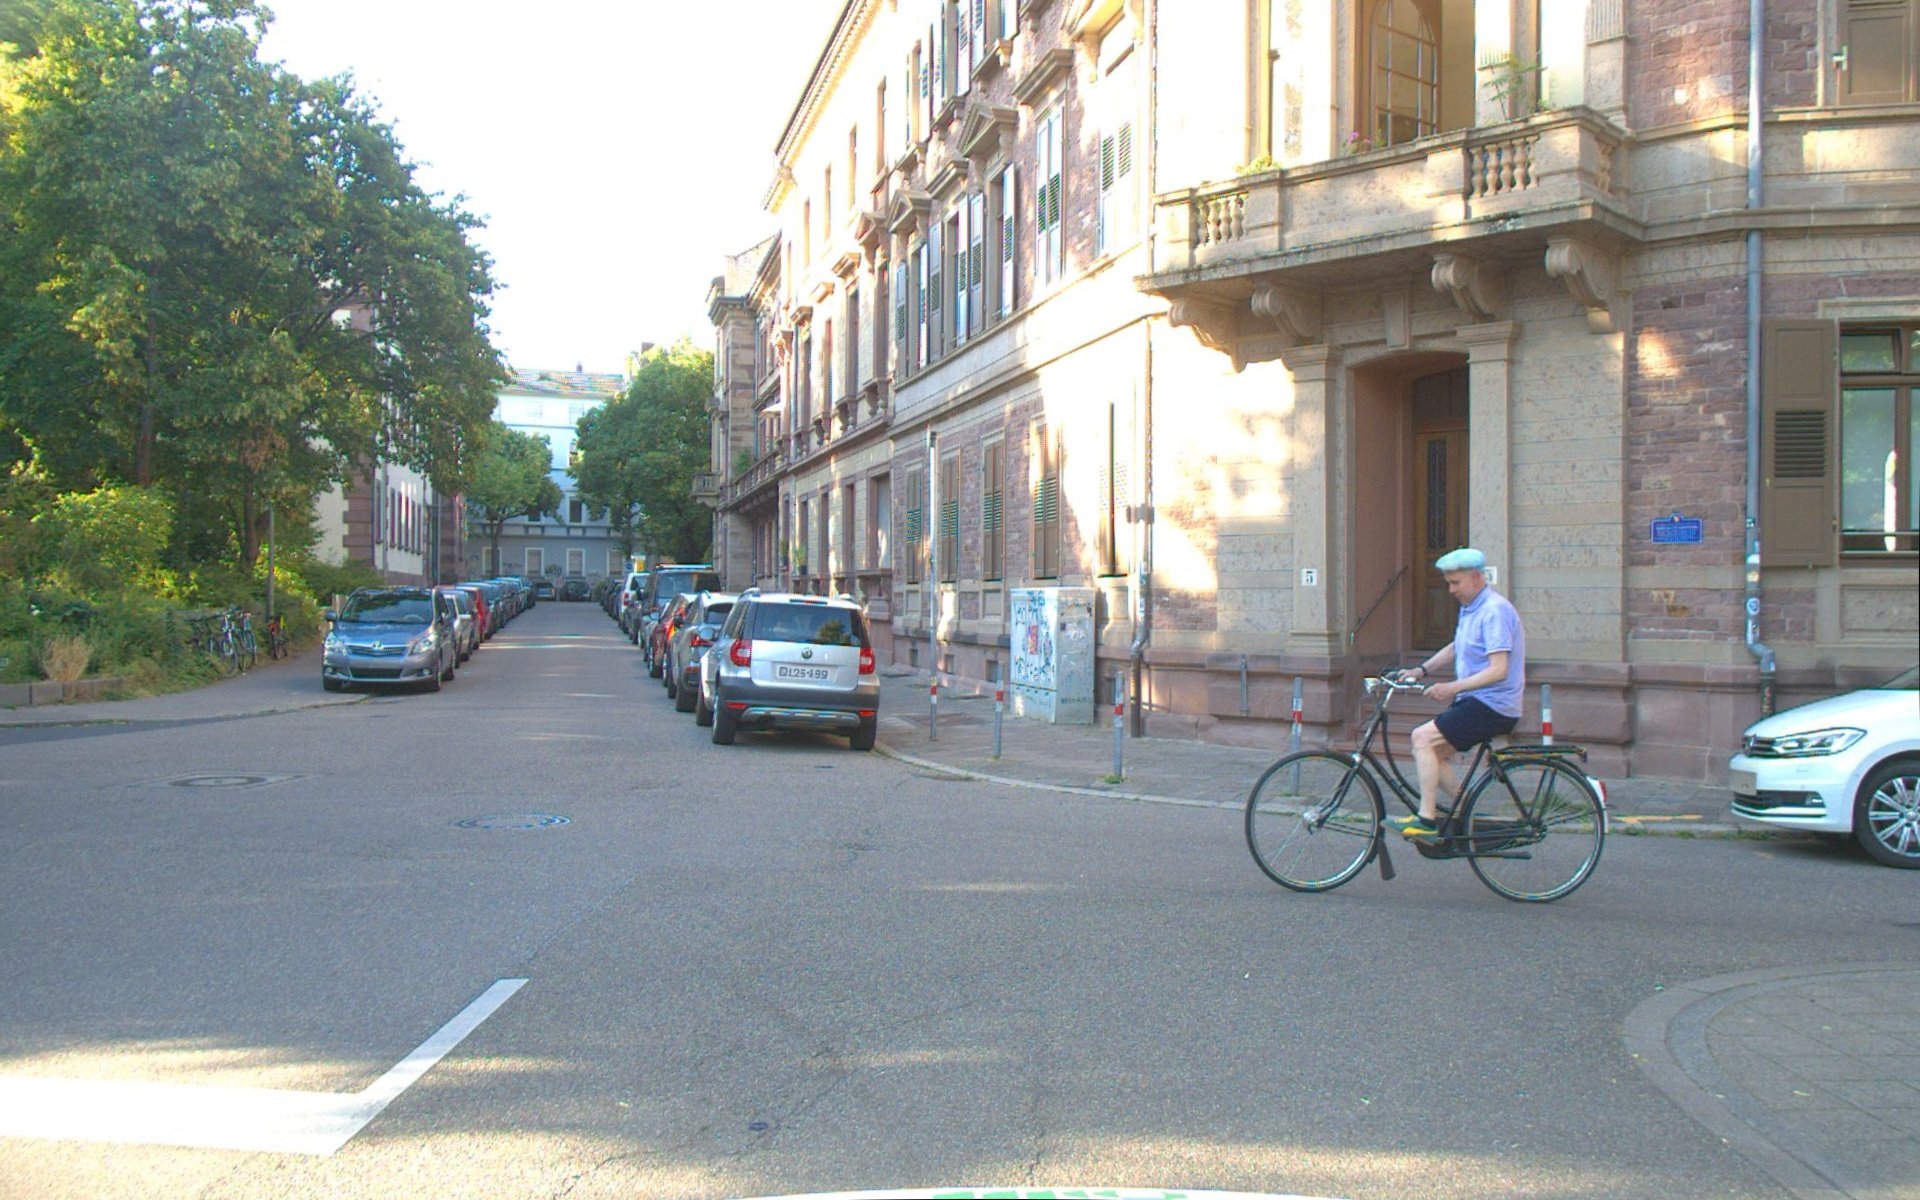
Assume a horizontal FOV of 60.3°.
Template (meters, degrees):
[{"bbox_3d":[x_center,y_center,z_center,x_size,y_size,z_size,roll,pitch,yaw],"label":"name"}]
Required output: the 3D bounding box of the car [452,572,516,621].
[{"bbox_3d":[-16.352,-0.146,56.949,1.794,1.526,3.919,3,0,-13],"label":"car"}]

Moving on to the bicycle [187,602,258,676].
[{"bbox_3d":[-12.201,0.621,27.429,0.586,1.120,2.619,0,1,-13],"label":"bicycle"}]

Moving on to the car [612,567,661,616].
[{"bbox_3d":[-13.208,-0.359,67.392,1.767,1.871,3.942,3,0,-13],"label":"car"}]

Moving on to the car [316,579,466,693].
[{"bbox_3d":[-9.364,0.535,27.543,1.794,1.643,4.278,3,0,-13],"label":"car"}]

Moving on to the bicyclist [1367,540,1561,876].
[{"bbox_3d":[2.528,0.515,8.378,0.853,1.616,0.701,0,0,10],"label":"bicyclist"}]

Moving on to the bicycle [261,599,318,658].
[{"bbox_3d":[-13.665,0.564,33.757,0.586,1.120,2.620,0,1,-11],"label":"bicycle"}]

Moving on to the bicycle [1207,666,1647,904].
[{"bbox_3d":[2.314,0.905,8.413,2.071,1.072,0.701,0,0,10],"label":"bicycle"}]

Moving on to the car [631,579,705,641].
[{"bbox_3d":[-8.109,0.235,45.721,1.767,1.550,3.942,3,0,-13],"label":"car"}]

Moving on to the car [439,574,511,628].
[{"bbox_3d":[-15.143,0.002,51.794,1.794,1.526,3.919,3,0,-13],"label":"car"}]

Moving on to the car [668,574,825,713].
[{"bbox_3d":[-3.228,0.554,24.244,1.794,1.753,4.529,3,0,-13],"label":"car"}]

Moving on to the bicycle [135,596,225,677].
[{"bbox_3d":[-11.648,0.510,24.774,0.586,1.120,2.620,0,1,-11],"label":"bicycle"}]

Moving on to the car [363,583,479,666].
[{"bbox_3d":[-10.964,0.462,33.886,1.794,1.472,3.919,3,0,-13],"label":"car"}]

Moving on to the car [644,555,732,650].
[{"bbox_3d":[-6.642,0.027,40.064,1.767,2.108,3.942,3,0,-13],"label":"car"}]

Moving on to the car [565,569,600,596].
[{"bbox_3d":[-26.356,-1.189,115.517,1.963,1.713,3.978,1,-1,-19],"label":"car"}]

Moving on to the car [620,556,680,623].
[{"bbox_3d":[-10.612,-0.372,56.389,1.767,2.108,3.942,3,0,-13],"label":"car"}]

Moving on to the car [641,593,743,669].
[{"bbox_3d":[-5.604,0.599,34.240,1.767,1.368,3.942,3,0,-13],"label":"car"}]

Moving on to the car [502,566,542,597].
[{"bbox_3d":[-23.039,-0.976,87.050,1.794,1.526,3.919,3,0,-13],"label":"car"}]

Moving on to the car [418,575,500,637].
[{"bbox_3d":[-13.714,0.134,45.444,1.794,1.526,3.919,3,0,-13],"label":"car"}]

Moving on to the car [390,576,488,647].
[{"bbox_3d":[-12.315,0.235,39.269,1.794,1.503,3.919,3,0,-13],"label":"car"}]

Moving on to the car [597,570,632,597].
[{"bbox_3d":[-24.397,-1.143,116.616,1.963,1.713,3.978,1,-1,-19],"label":"car"}]

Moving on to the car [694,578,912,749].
[{"bbox_3d":[-1.942,0.657,19.248,1.883,1.685,4.172,3,0,-13],"label":"car"}]

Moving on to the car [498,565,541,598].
[{"bbox_3d":[-21.829,-0.922,82.112,1.794,1.526,3.919,3,0,-13],"label":"car"}]

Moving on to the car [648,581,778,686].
[{"bbox_3d":[-4.456,0.536,29.353,1.768,1.642,3.939,3,0,-15],"label":"car"}]

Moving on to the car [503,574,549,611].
[{"bbox_3d":[-20.003,-0.361,76.289,1.794,1.526,3.919,3,0,-13],"label":"car"}]

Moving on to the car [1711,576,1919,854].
[{"bbox_3d":[7.398,0.744,10.634,4.387,1.678,1.876,1,-2,13],"label":"car"}]

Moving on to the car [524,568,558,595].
[{"bbox_3d":[-29.017,-1.265,114.479,1.963,1.713,3.978,1,-1,-19],"label":"car"}]

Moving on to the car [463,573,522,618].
[{"bbox_3d":[-17.419,-0.187,61.730,1.794,1.526,3.919,3,0,-13],"label":"car"}]
